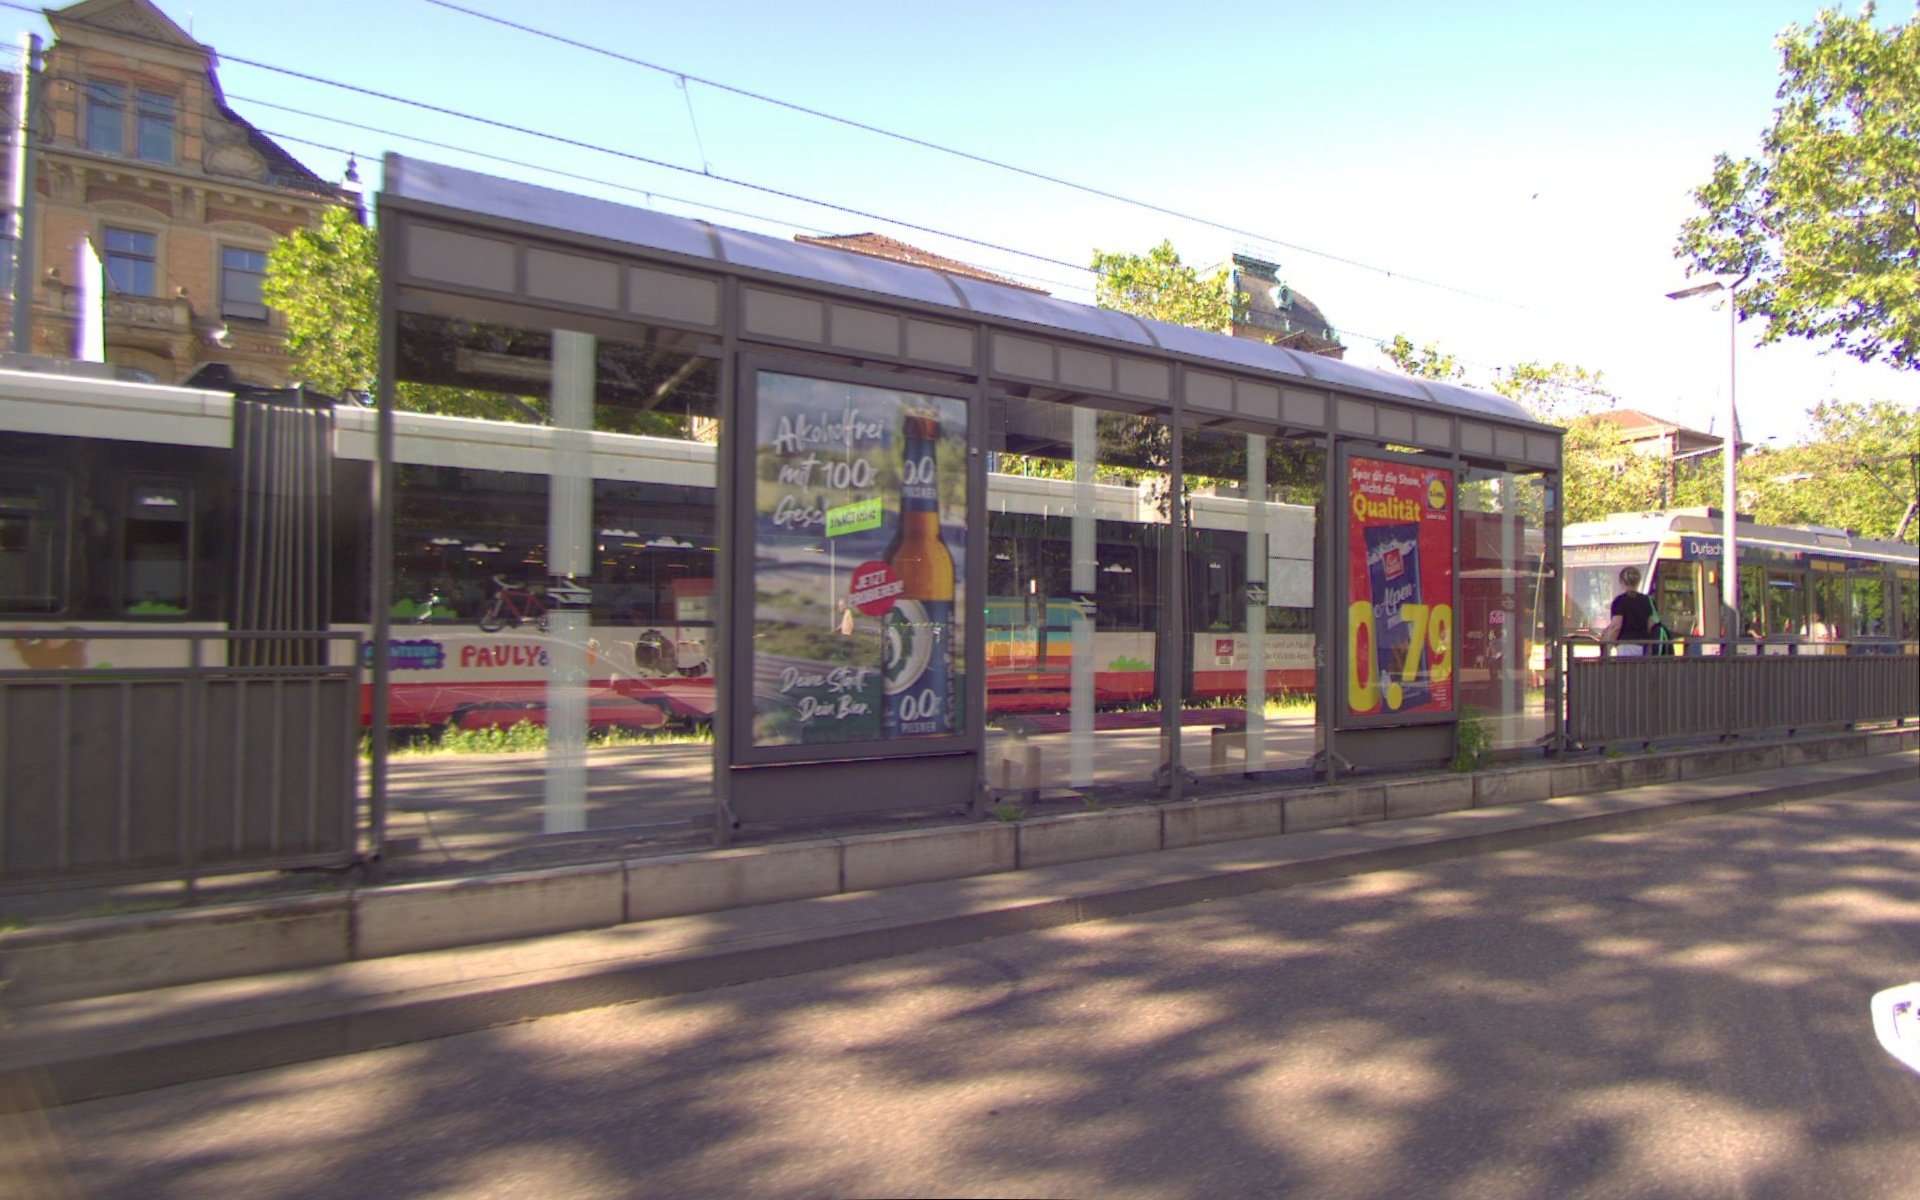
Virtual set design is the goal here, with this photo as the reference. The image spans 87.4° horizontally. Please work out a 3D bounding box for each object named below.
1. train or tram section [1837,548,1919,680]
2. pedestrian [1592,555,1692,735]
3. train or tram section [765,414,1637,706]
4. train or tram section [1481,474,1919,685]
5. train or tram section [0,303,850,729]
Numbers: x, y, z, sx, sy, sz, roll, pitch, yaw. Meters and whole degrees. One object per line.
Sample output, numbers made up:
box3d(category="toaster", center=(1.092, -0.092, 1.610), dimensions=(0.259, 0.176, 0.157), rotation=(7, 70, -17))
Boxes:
box3d(category="train or tram section", center=(29.384, 0.641, 28.404), dimensions=(12.961, 3.303, 2.900), rotation=(3, 0, -31))
box3d(category="pedestrian", center=(6.567, 0.423, 9.677), dimensions=(0.614, 1.661, 0.564), rotation=(2, -1, -28))
box3d(category="train or tram section", center=(5.695, -0.255, 17.755), dimensions=(17.999, 3.480, 2.835), rotation=(2, 0, -30))
box3d(category="train or tram section", center=(17.077, -0.007, 21.116), dimensions=(15.709, 3.303, 2.900), rotation=(3, 0, -31))
box3d(category="train or tram section", center=(-9.841, -0.731, 8.695), dimensions=(18.060, 3.480, 2.857), rotation=(2, 0, -30))
